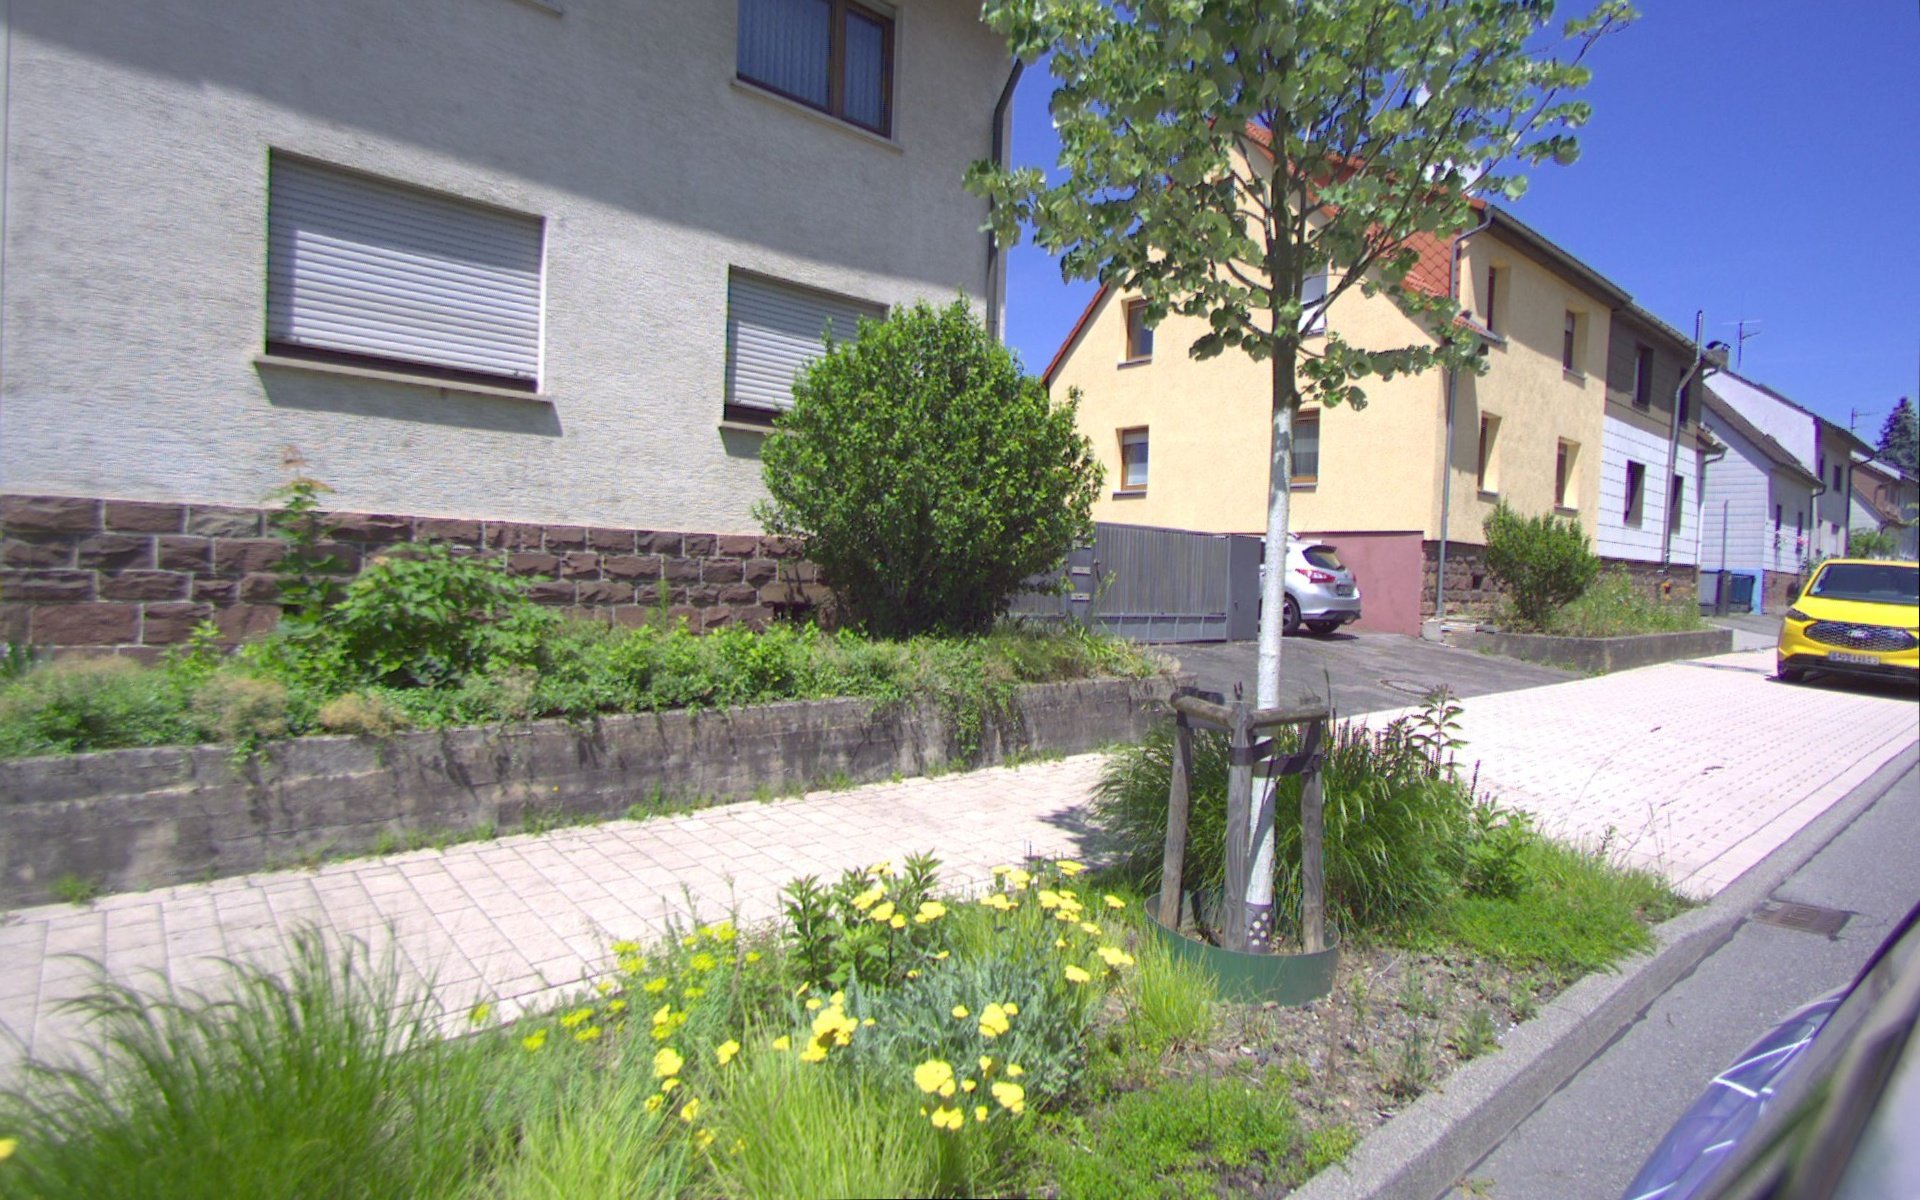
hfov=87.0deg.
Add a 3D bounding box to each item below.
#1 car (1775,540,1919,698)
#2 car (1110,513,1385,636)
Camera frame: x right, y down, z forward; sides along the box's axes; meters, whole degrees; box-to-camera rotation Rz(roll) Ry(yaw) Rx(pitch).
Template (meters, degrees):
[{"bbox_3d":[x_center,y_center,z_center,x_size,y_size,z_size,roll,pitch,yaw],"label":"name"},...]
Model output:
[{"bbox_3d":[14.696,0.204,15.727,5.528,2.037,2.194,-2,7,-42],"label":"car"},{"bbox_3d":[4.689,-0.504,16.921,1.843,1.696,3.994,0,5,-43],"label":"car"}]
